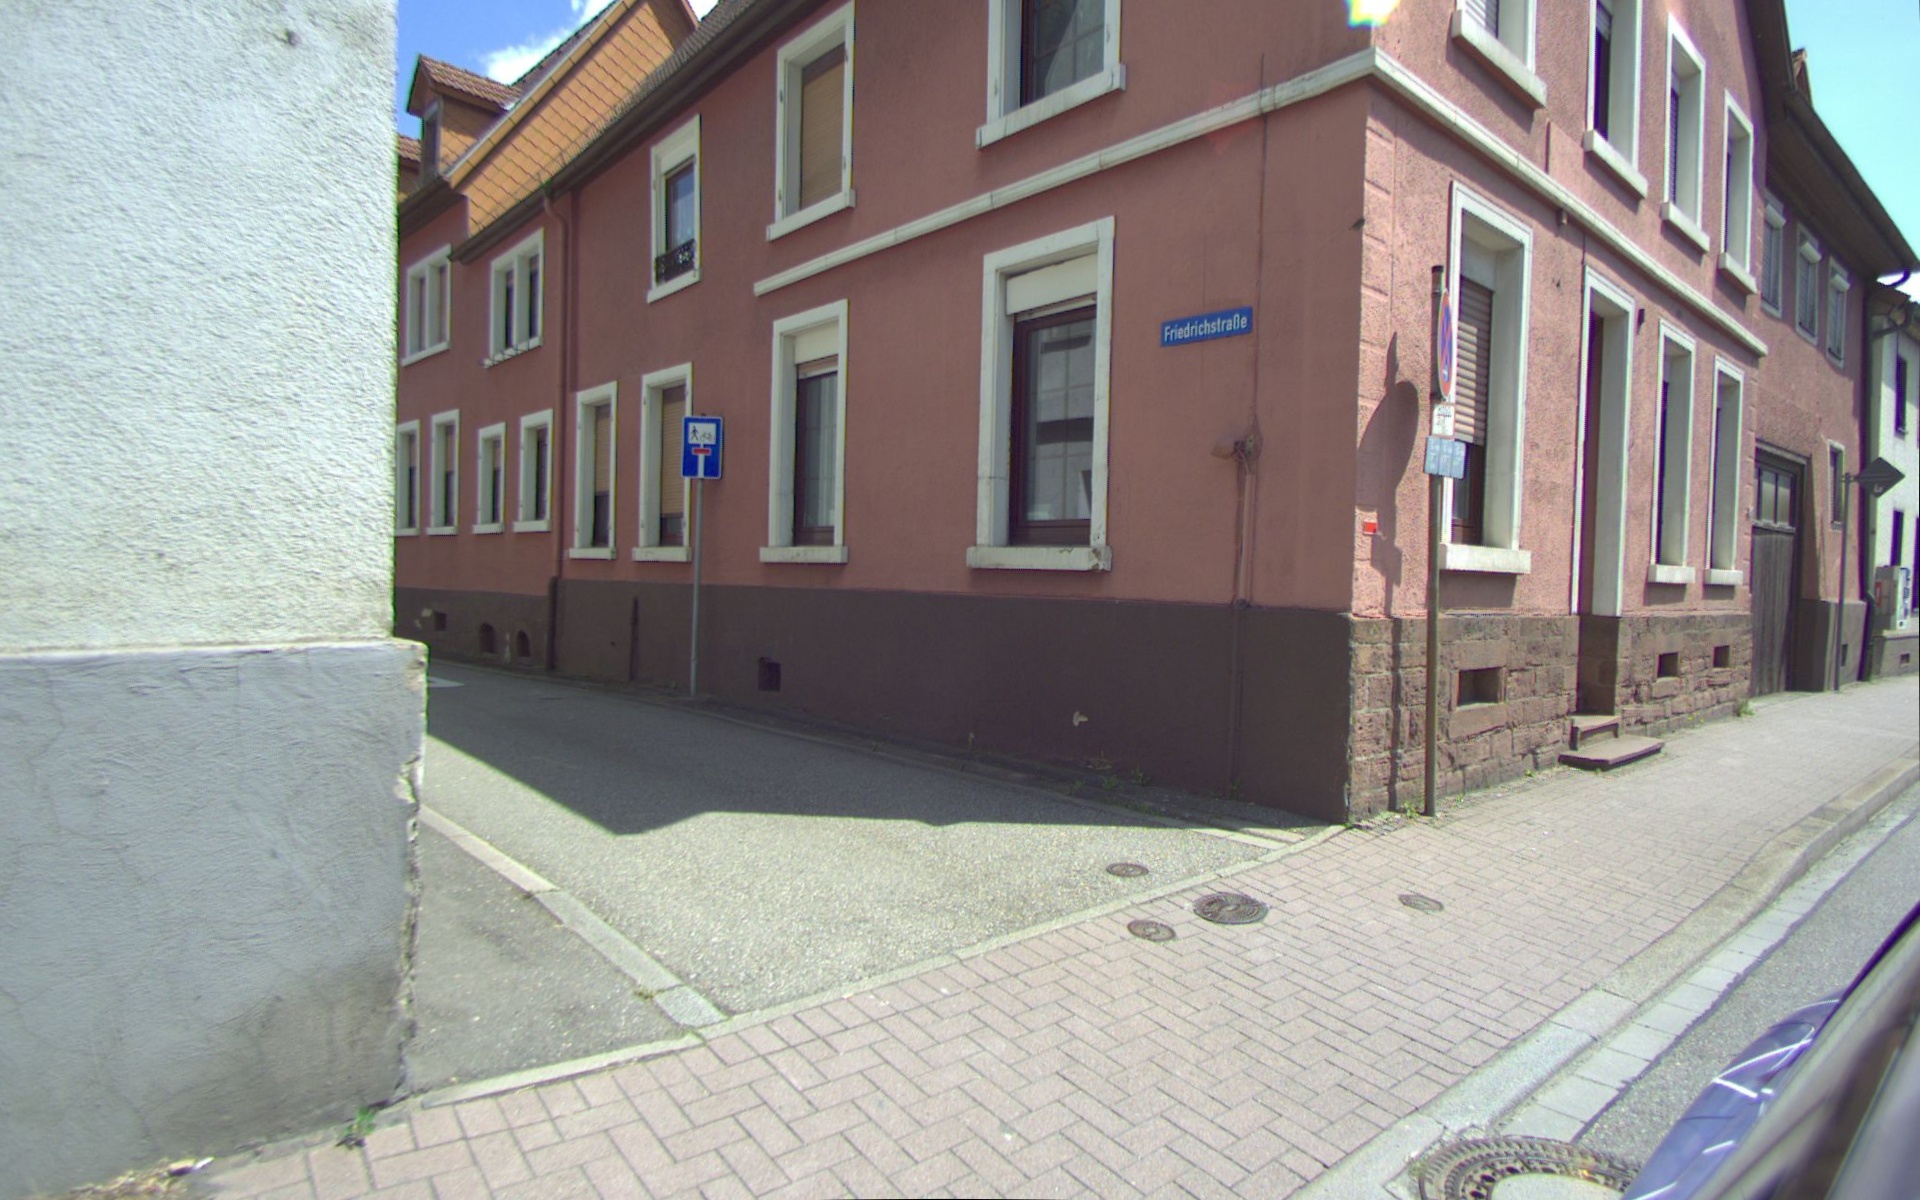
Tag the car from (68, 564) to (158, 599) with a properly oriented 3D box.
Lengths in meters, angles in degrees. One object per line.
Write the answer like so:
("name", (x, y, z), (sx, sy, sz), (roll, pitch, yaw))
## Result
("car", (-50.107, -1.060, 59.880), (3.935, 1.972, 1.995), (0, 0, -45))
